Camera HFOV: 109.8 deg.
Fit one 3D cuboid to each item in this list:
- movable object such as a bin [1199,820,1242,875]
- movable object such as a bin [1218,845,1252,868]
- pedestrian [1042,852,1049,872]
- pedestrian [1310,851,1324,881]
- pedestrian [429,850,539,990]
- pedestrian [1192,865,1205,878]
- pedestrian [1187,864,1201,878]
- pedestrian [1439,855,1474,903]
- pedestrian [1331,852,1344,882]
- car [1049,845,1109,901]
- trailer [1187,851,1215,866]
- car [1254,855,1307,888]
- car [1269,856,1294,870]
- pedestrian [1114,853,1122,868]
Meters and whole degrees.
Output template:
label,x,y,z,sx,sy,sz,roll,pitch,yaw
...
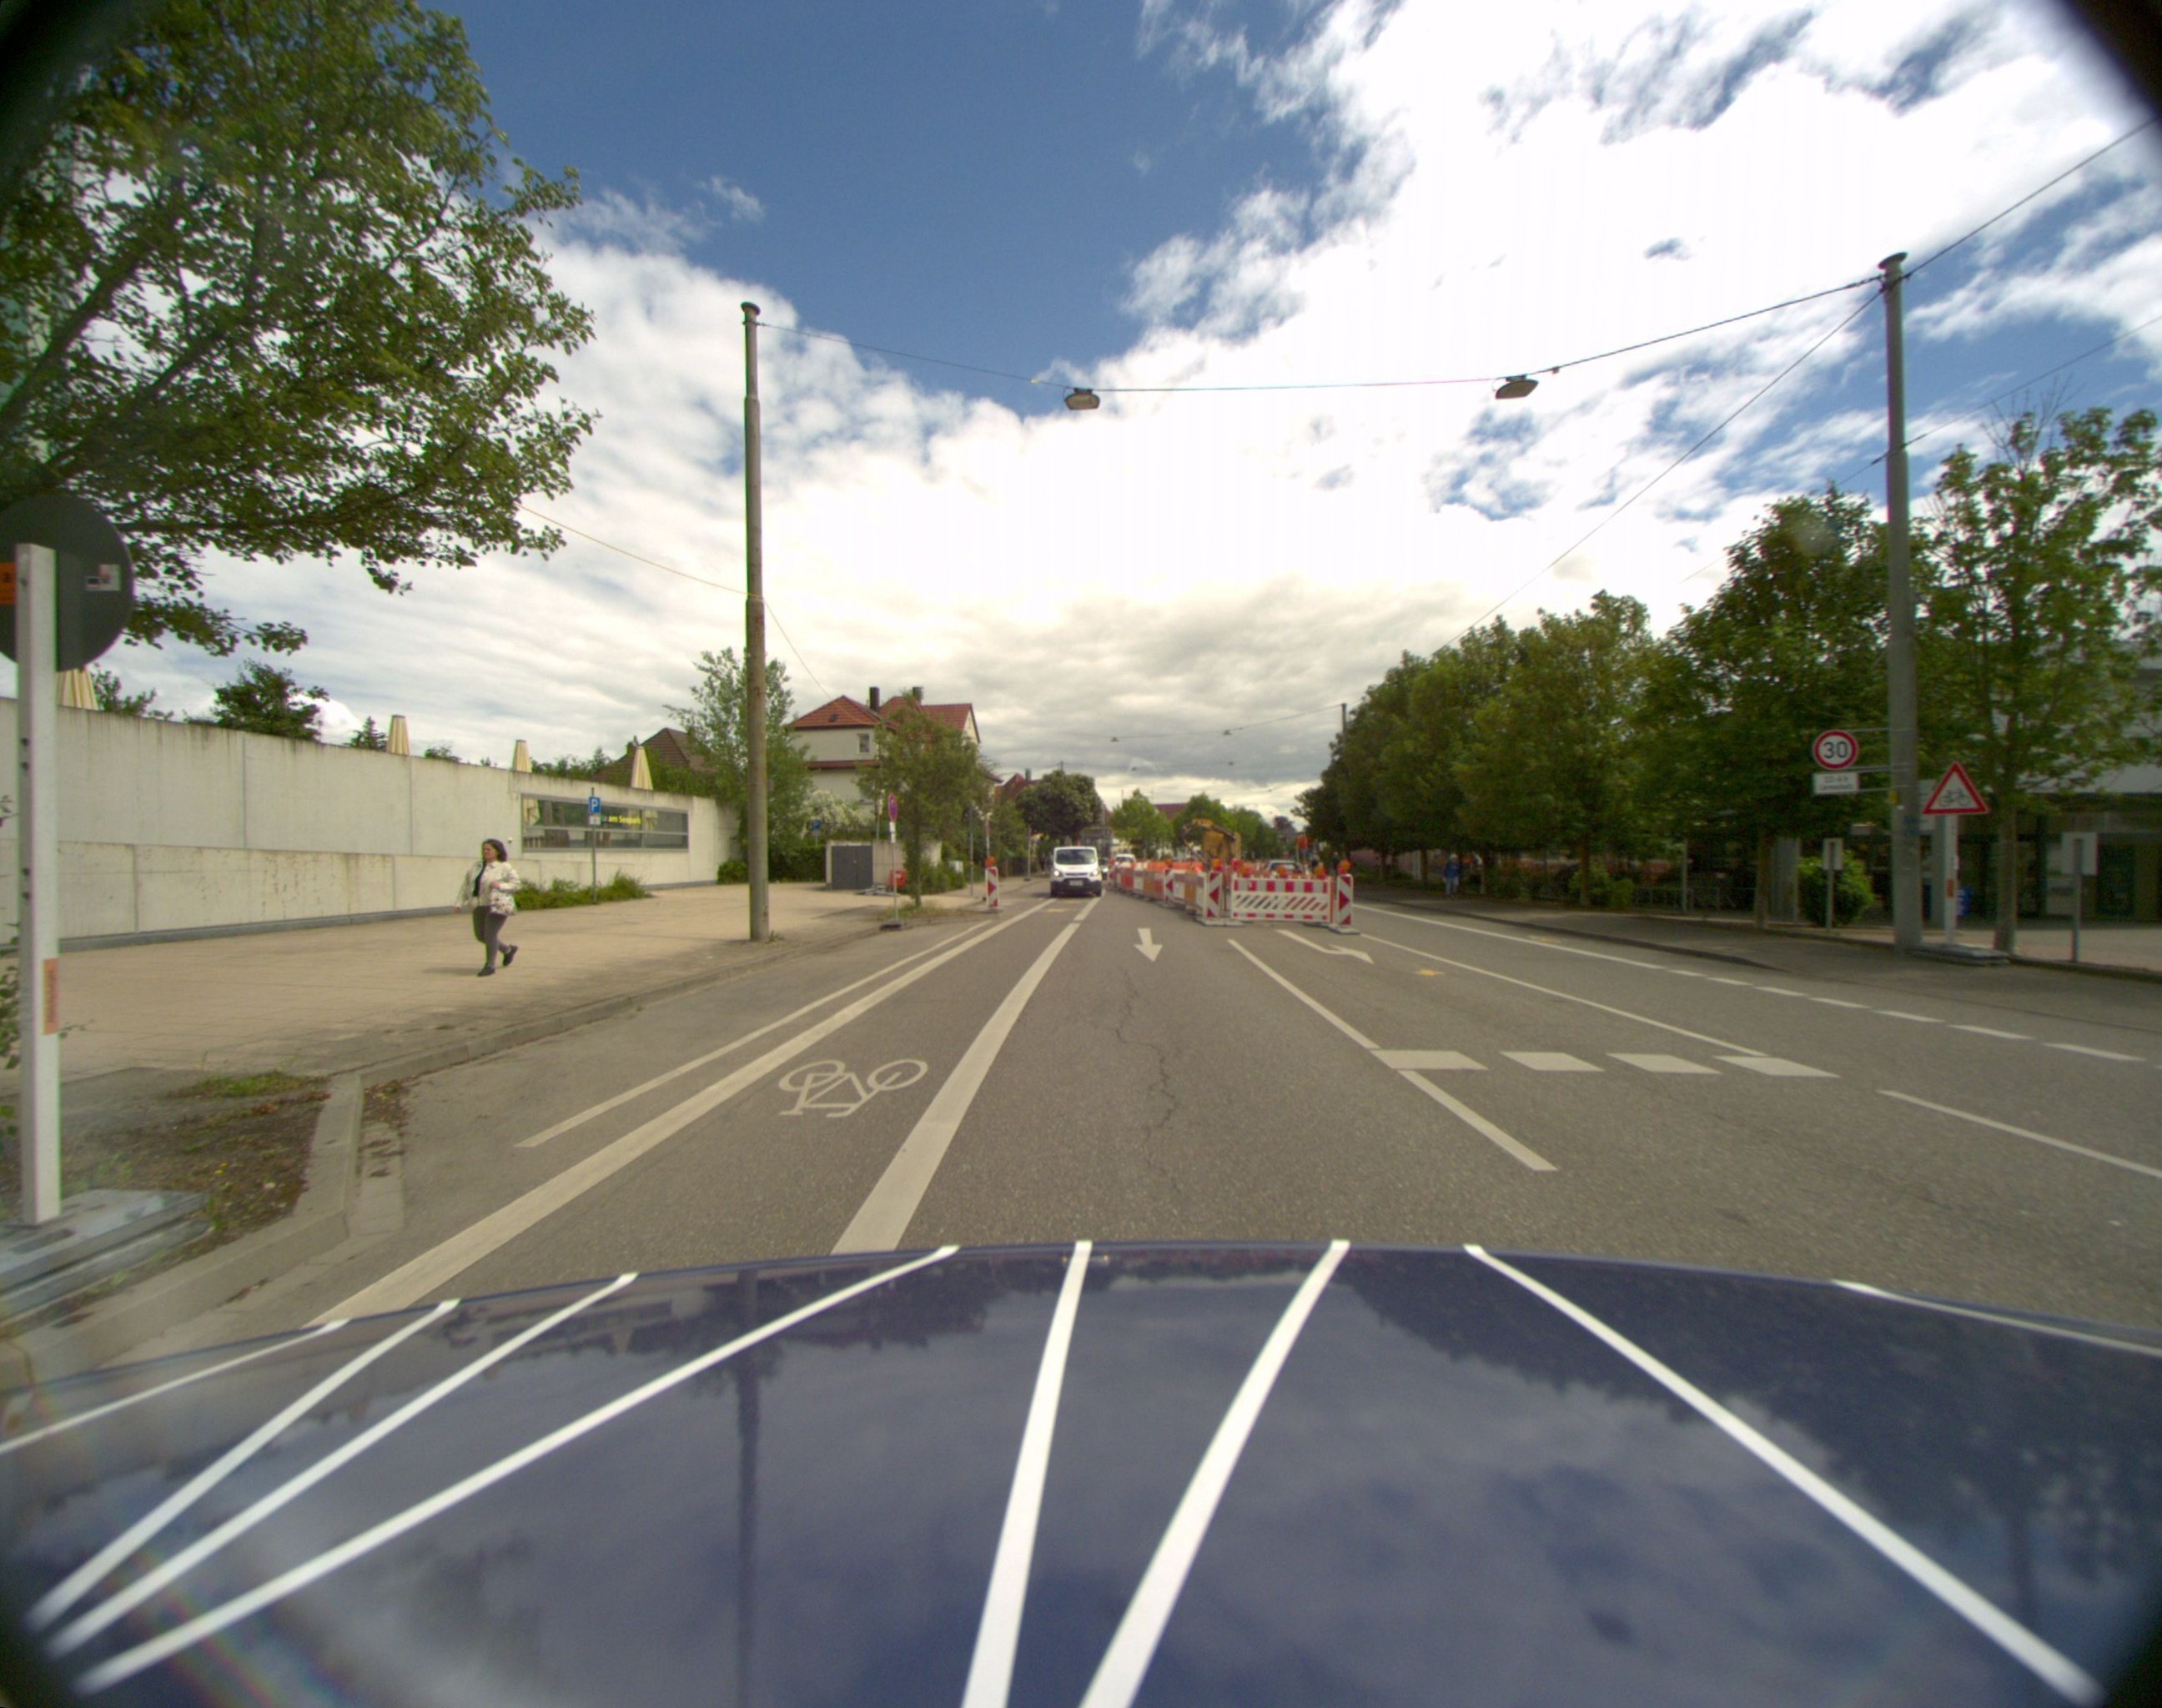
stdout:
label,x,y,z,sx,sy,sz,roll,pitch,yaw
movable object such as a bin,11.796,-0.498,63.611,2.594,4.197,11.134,1,0,15
movable object such as a bin,18.009,0.269,88.553,1.994,2.610,6.535,1,0,29
pedestrian,-2.795,0.634,60.138,0.522,1.531,0.636,1,1,-6
pedestrian,14.738,0.752,47.483,0.695,1.836,0.624,1,1,29
pedestrian,-6.906,0.731,8.830,0.582,1.542,0.869,0,1,1
pedestrian,8.794,1.307,56.988,0.641,0.985,0.795,1,1,39
pedestrian,8.633,1.304,58.059,0.791,0.985,0.813,1,1,29
pedestrian,12.699,0.841,25.728,0.754,1.593,0.829,0,1,-2
pedestrian,15.829,0.789,46.848,0.625,1.836,0.624,1,1,29
car,-0.195,0.680,30.745,1.999,2.002,5.510,-1,0,-4
trailer,19.017,0.641,119.848,2.594,2.232,5.685,-2,-1,27
car,9.759,0.837,37.472,1.858,1.504,4.001,0,0,5
car,23.557,1.051,89.233,1.855,1.444,4.008,-1,0,31
pedestrian,4.070,0.677,83.622,0.598,1.573,0.402,-6,1,19
